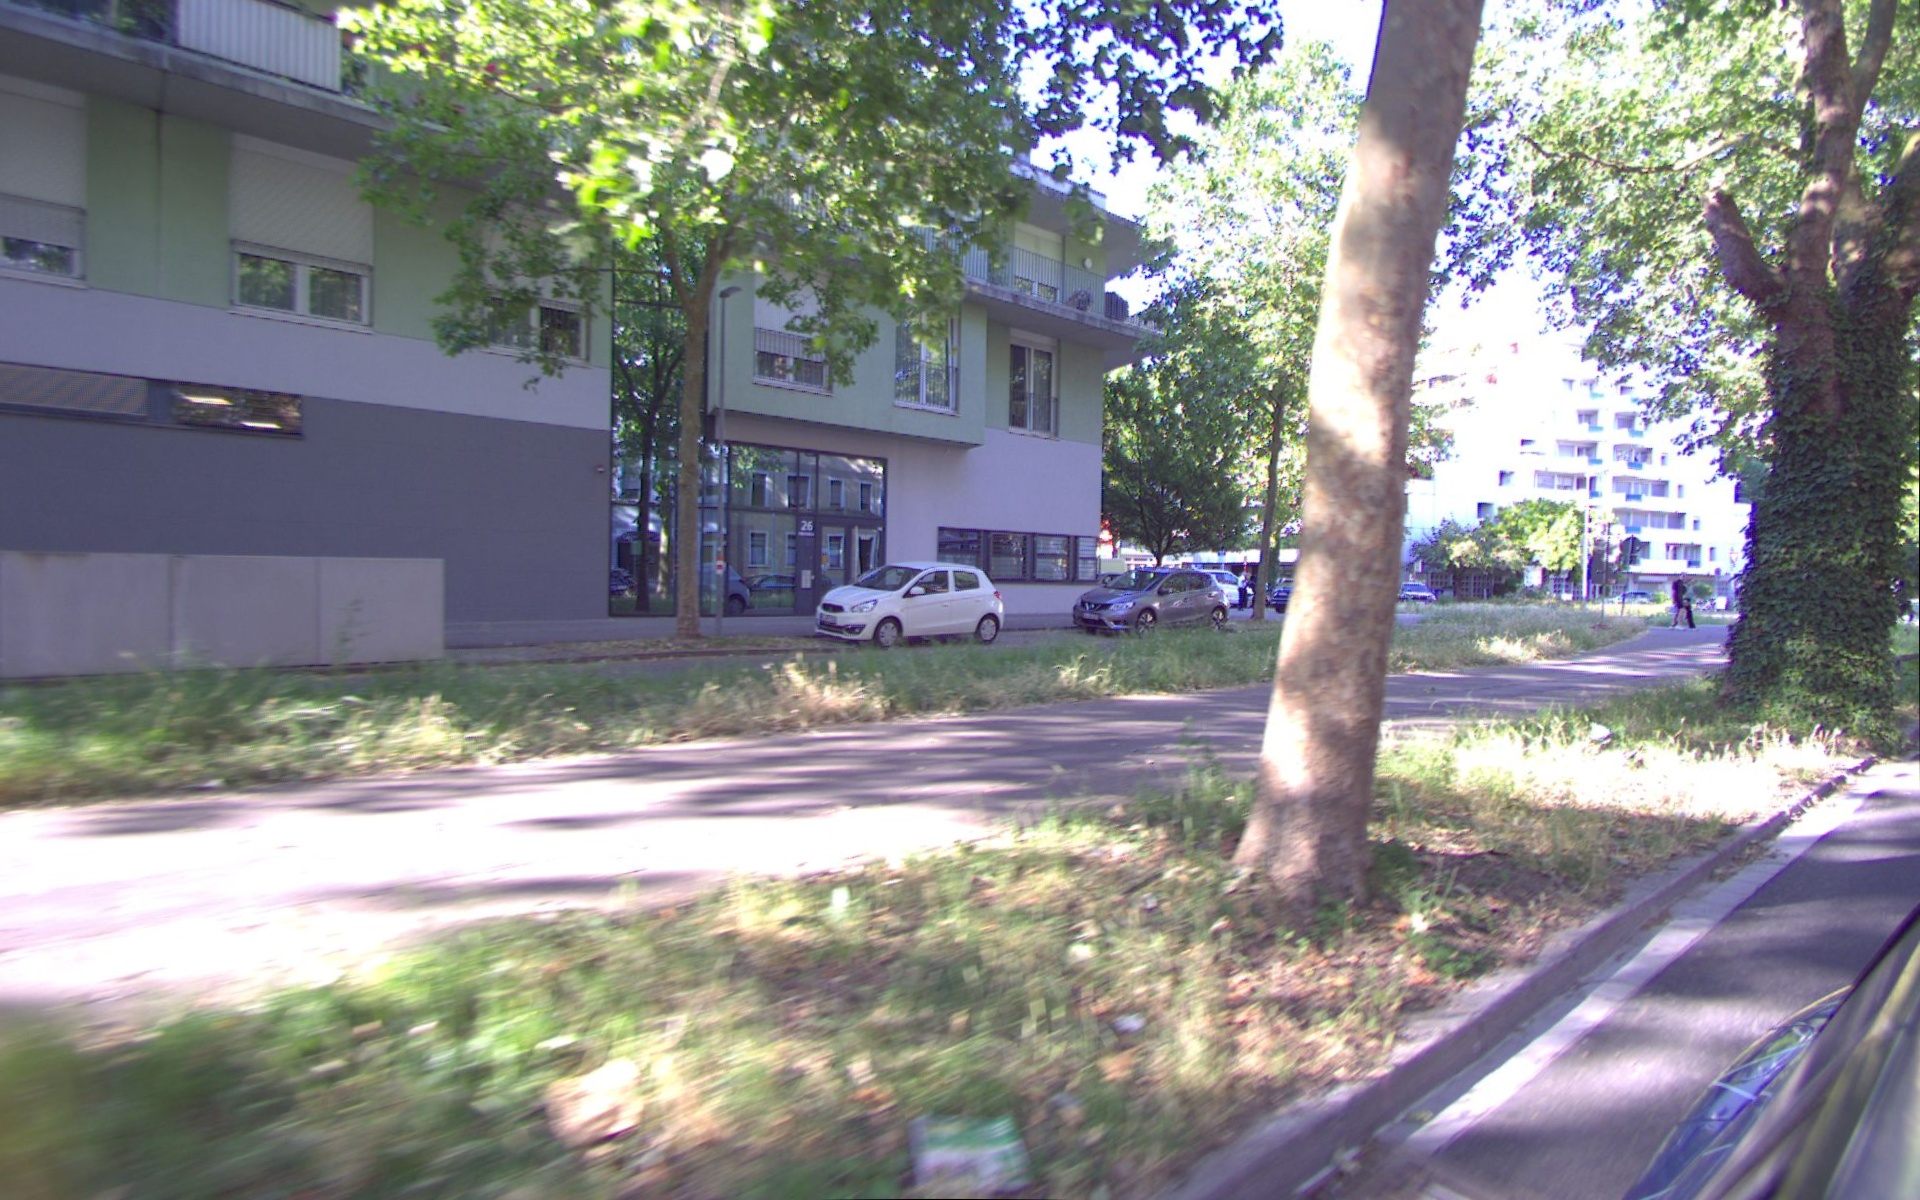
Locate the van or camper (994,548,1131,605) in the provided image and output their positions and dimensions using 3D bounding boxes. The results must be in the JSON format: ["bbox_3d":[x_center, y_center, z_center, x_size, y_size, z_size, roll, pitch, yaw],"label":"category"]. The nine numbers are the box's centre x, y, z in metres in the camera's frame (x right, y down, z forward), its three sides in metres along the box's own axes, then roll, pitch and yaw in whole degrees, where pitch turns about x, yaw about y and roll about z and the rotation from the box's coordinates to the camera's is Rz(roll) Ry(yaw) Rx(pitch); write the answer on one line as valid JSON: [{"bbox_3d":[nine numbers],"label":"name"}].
[{"bbox_3d":[4.281,-0.963,42.348,5.258,2.275,2.270,0,1,-23],"label":"van or camper"}]

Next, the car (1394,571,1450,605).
[{"bbox_3d":[25.580,-0.637,56.163,1.910,1.680,4.457,4,0,14],"label":"car"}]

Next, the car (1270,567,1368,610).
[{"bbox_3d":[15.175,-0.463,42.708,3.906,1.542,1.678,4,0,-30],"label":"car"}]

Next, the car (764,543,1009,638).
[{"bbox_3d":[-1.271,-0.194,18.626,4.244,1.562,1.862,0,2,-41],"label":"car"}]

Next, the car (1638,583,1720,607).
[{"bbox_3d":[48.572,-0.360,68.461,4.154,1.530,1.789,1,1,21],"label":"car"}]

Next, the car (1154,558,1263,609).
[{"bbox_3d":[12.200,-0.801,49.684,4.946,2.123,2.005,4,0,-25],"label":"car"}]

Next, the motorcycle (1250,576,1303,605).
[{"bbox_3d":[14.261,-0.408,45.551,2.269,1.263,0.953,0,1,-29],"label":"motorcycle"}]

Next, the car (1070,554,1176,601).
[{"bbox_3d":[6.036,-0.818,37.511,3.483,1.473,1.679,4,0,-24],"label":"car"}]

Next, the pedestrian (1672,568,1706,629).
[{"bbox_3d":[23.818,-0.064,33.073,0.834,1.956,0.772,2,1,38],"label":"pedestrian"}]

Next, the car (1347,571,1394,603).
[{"bbox_3d":[23.461,-0.694,57.951,1.801,1.607,4.349,4,0,14],"label":"car"}]

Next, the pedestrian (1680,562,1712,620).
[{"bbox_3d":[24.510,-0.310,33.695,0.782,1.903,0.792,2,1,40],"label":"pedestrian"}]

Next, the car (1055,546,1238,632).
[{"bbox_3d":[4.342,-0.265,23.269,4.244,1.793,1.908,0,2,-41],"label":"car"}]

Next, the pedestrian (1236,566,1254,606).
[{"bbox_3d":[12.915,-0.649,45.808,0.521,1.773,0.561,-1,1,-29],"label":"pedestrian"}]
